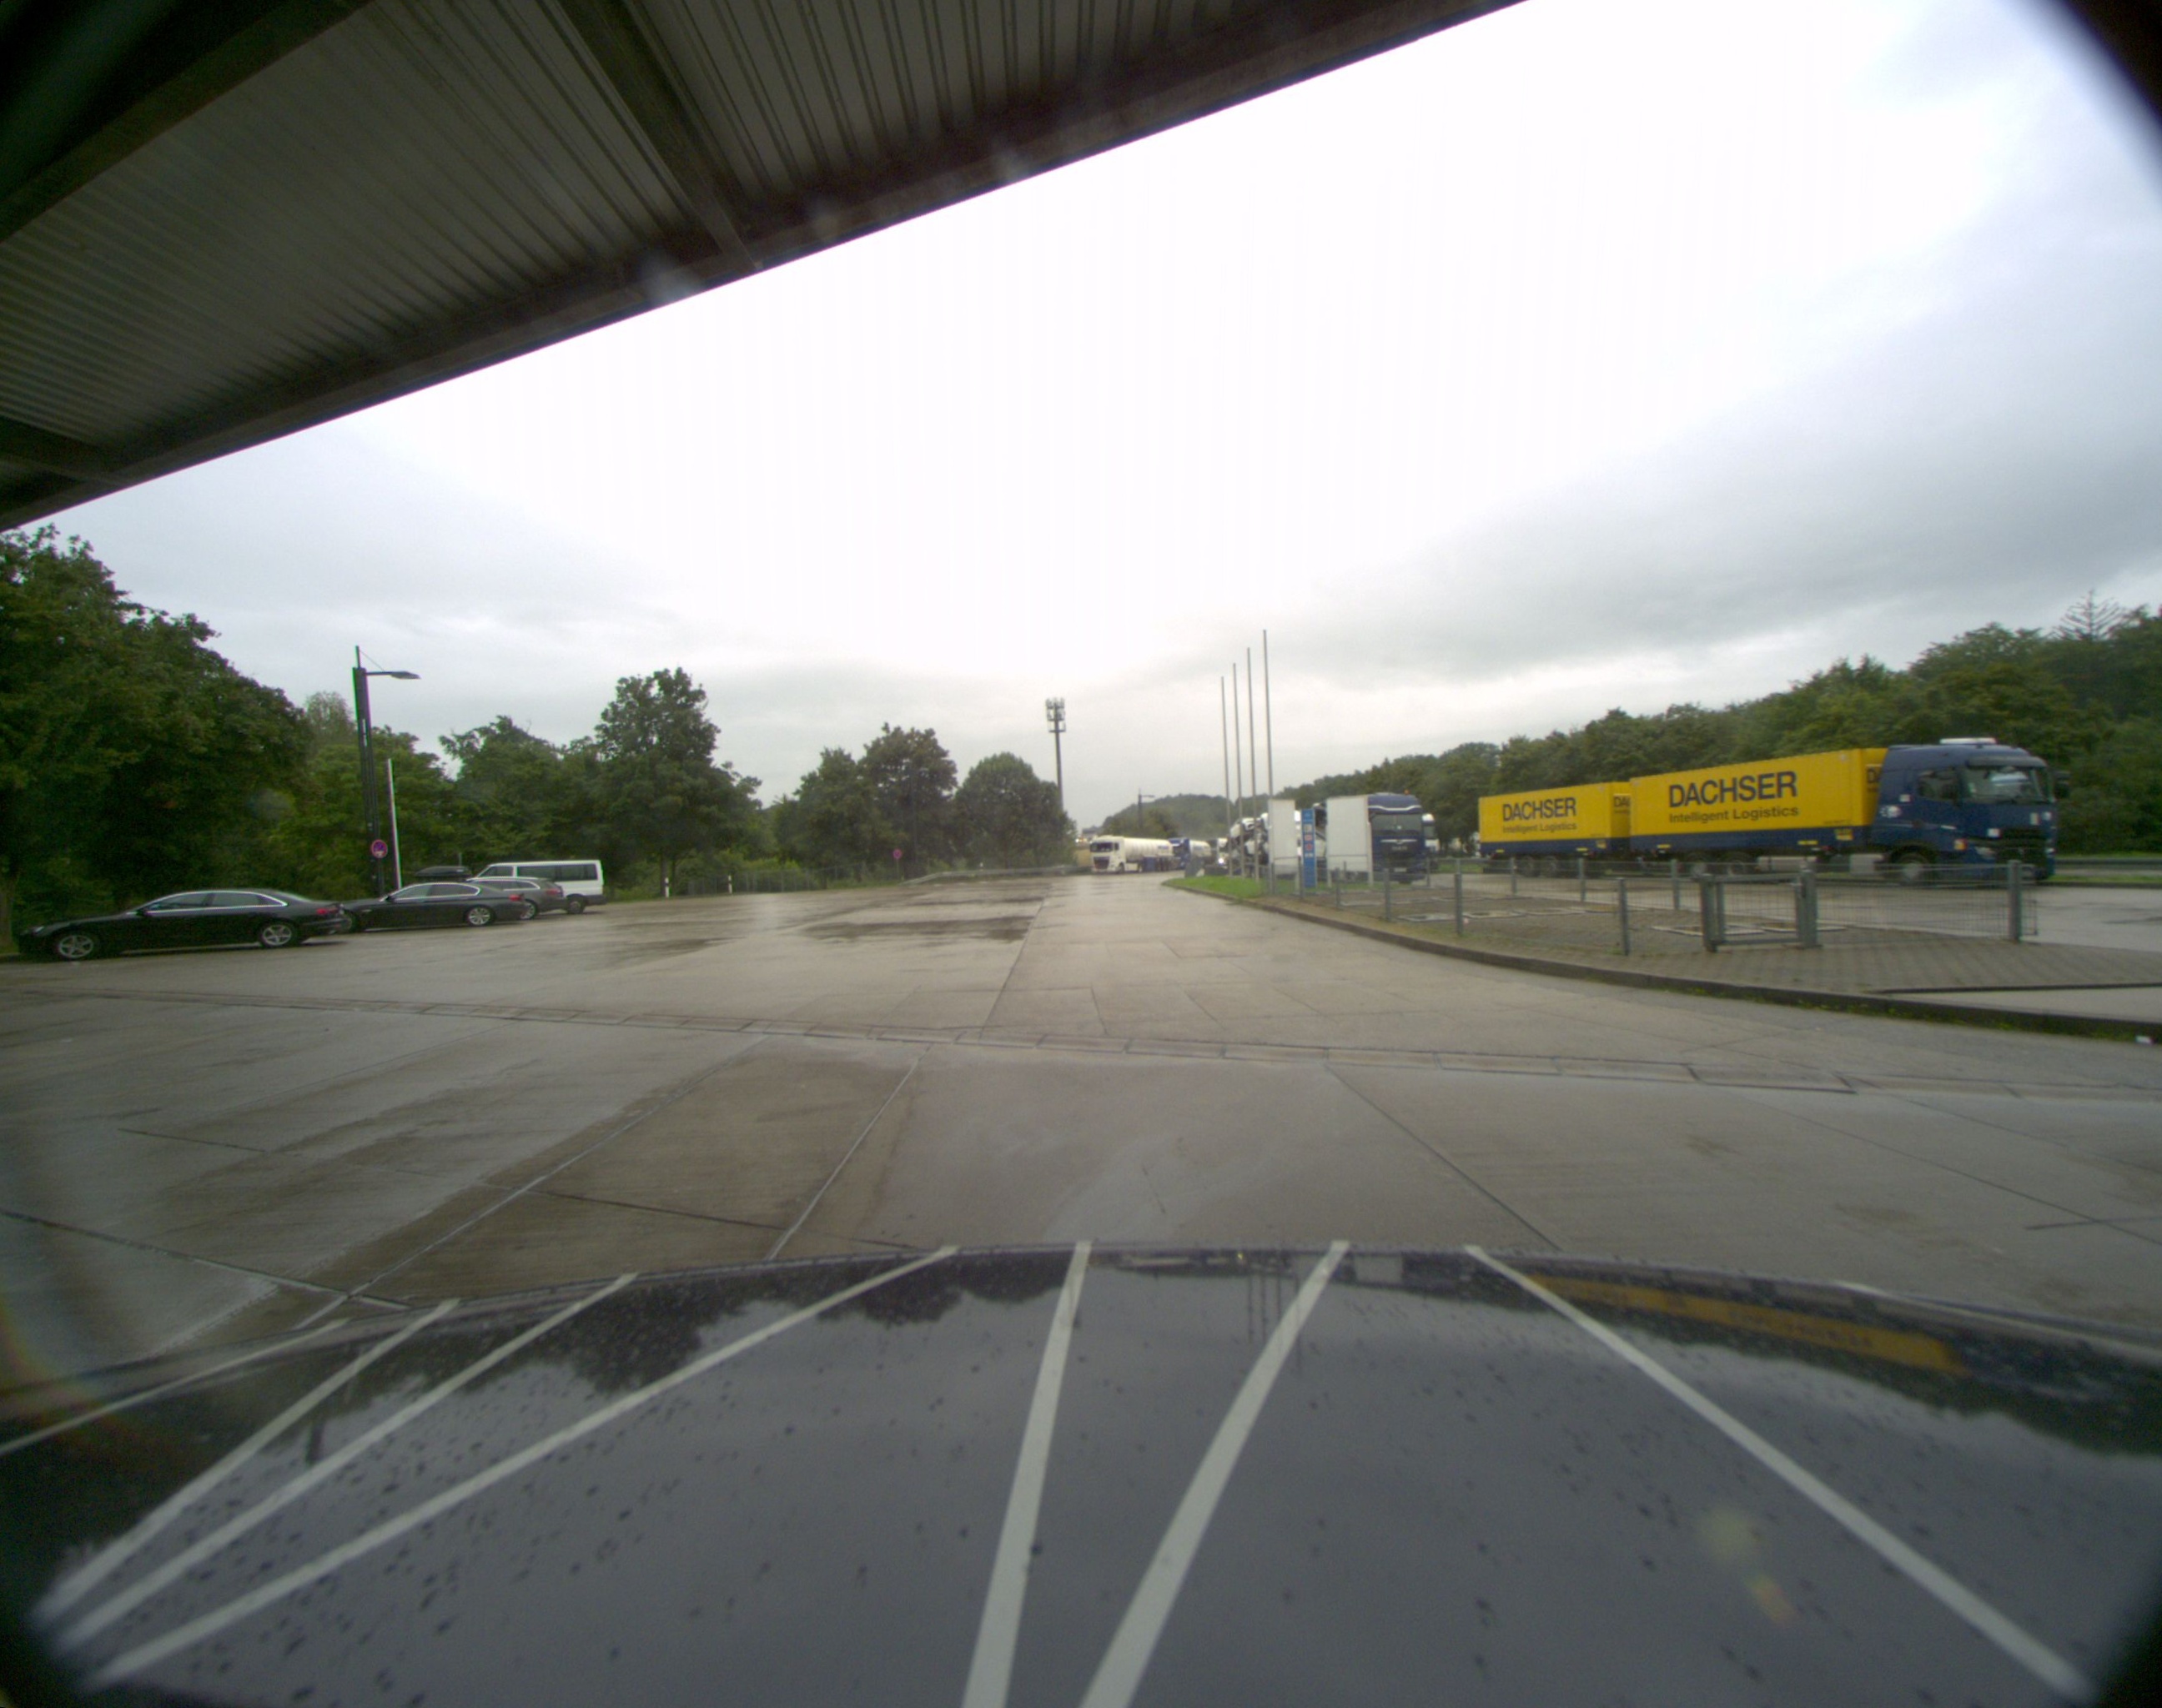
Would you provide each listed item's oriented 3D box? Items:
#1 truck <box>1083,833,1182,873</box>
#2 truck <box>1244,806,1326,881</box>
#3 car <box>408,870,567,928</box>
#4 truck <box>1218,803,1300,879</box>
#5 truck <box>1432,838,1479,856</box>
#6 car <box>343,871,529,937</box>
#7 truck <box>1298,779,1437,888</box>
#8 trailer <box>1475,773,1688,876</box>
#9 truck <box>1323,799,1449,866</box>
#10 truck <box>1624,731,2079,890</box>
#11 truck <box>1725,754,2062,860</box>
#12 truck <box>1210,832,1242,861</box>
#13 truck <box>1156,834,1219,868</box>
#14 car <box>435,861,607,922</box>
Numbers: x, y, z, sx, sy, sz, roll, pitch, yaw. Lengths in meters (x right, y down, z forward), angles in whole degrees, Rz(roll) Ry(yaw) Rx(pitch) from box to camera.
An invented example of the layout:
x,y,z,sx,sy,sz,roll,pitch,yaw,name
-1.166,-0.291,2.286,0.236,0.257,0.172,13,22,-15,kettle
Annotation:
x,y,z,sx,sy,sz,roll,pitch,yaw,name
5.454,-0.161,75.202,3.505,3.584,14.426,-2,0,31,truck
11.048,-0.558,41.581,2.665,3.750,4.747,-2,1,-6,truck
-19.469,1.429,25.151,4.007,1.650,1.596,-2,0,-35,car
10.572,-0.726,45.772,2.665,4.157,6.618,-2,1,-6,truck
45.467,-0.843,92.453,2.082,2.112,5.827,-2,1,-10,truck
-18.874,1.397,22.499,4.007,1.650,1.596,-2,0,-35,car
12.185,-0.795,33.174,2.665,4.157,7.103,-2,0,-6,truck
21.793,-1.184,33.942,2.757,3.894,8.700,-2,1,-9,trailer
19.884,-1.299,50.562,2.757,3.894,10.678,-2,1,-8,truck
23.156,-1.127,24.321,2.757,3.894,10.678,-2,1,-8,truck
33.912,-1.760,32.707,2.421,3.785,10.223,-2,1,-10,truck
21.987,-1.135,115.684,3.143,4.105,11.523,-2,1,3,truck
12.781,-0.405,89.683,3.506,3.584,14.685,-2,0,23,truck
-20.425,1.291,27.988,4.898,1.938,2.310,-2,0,-35,car
